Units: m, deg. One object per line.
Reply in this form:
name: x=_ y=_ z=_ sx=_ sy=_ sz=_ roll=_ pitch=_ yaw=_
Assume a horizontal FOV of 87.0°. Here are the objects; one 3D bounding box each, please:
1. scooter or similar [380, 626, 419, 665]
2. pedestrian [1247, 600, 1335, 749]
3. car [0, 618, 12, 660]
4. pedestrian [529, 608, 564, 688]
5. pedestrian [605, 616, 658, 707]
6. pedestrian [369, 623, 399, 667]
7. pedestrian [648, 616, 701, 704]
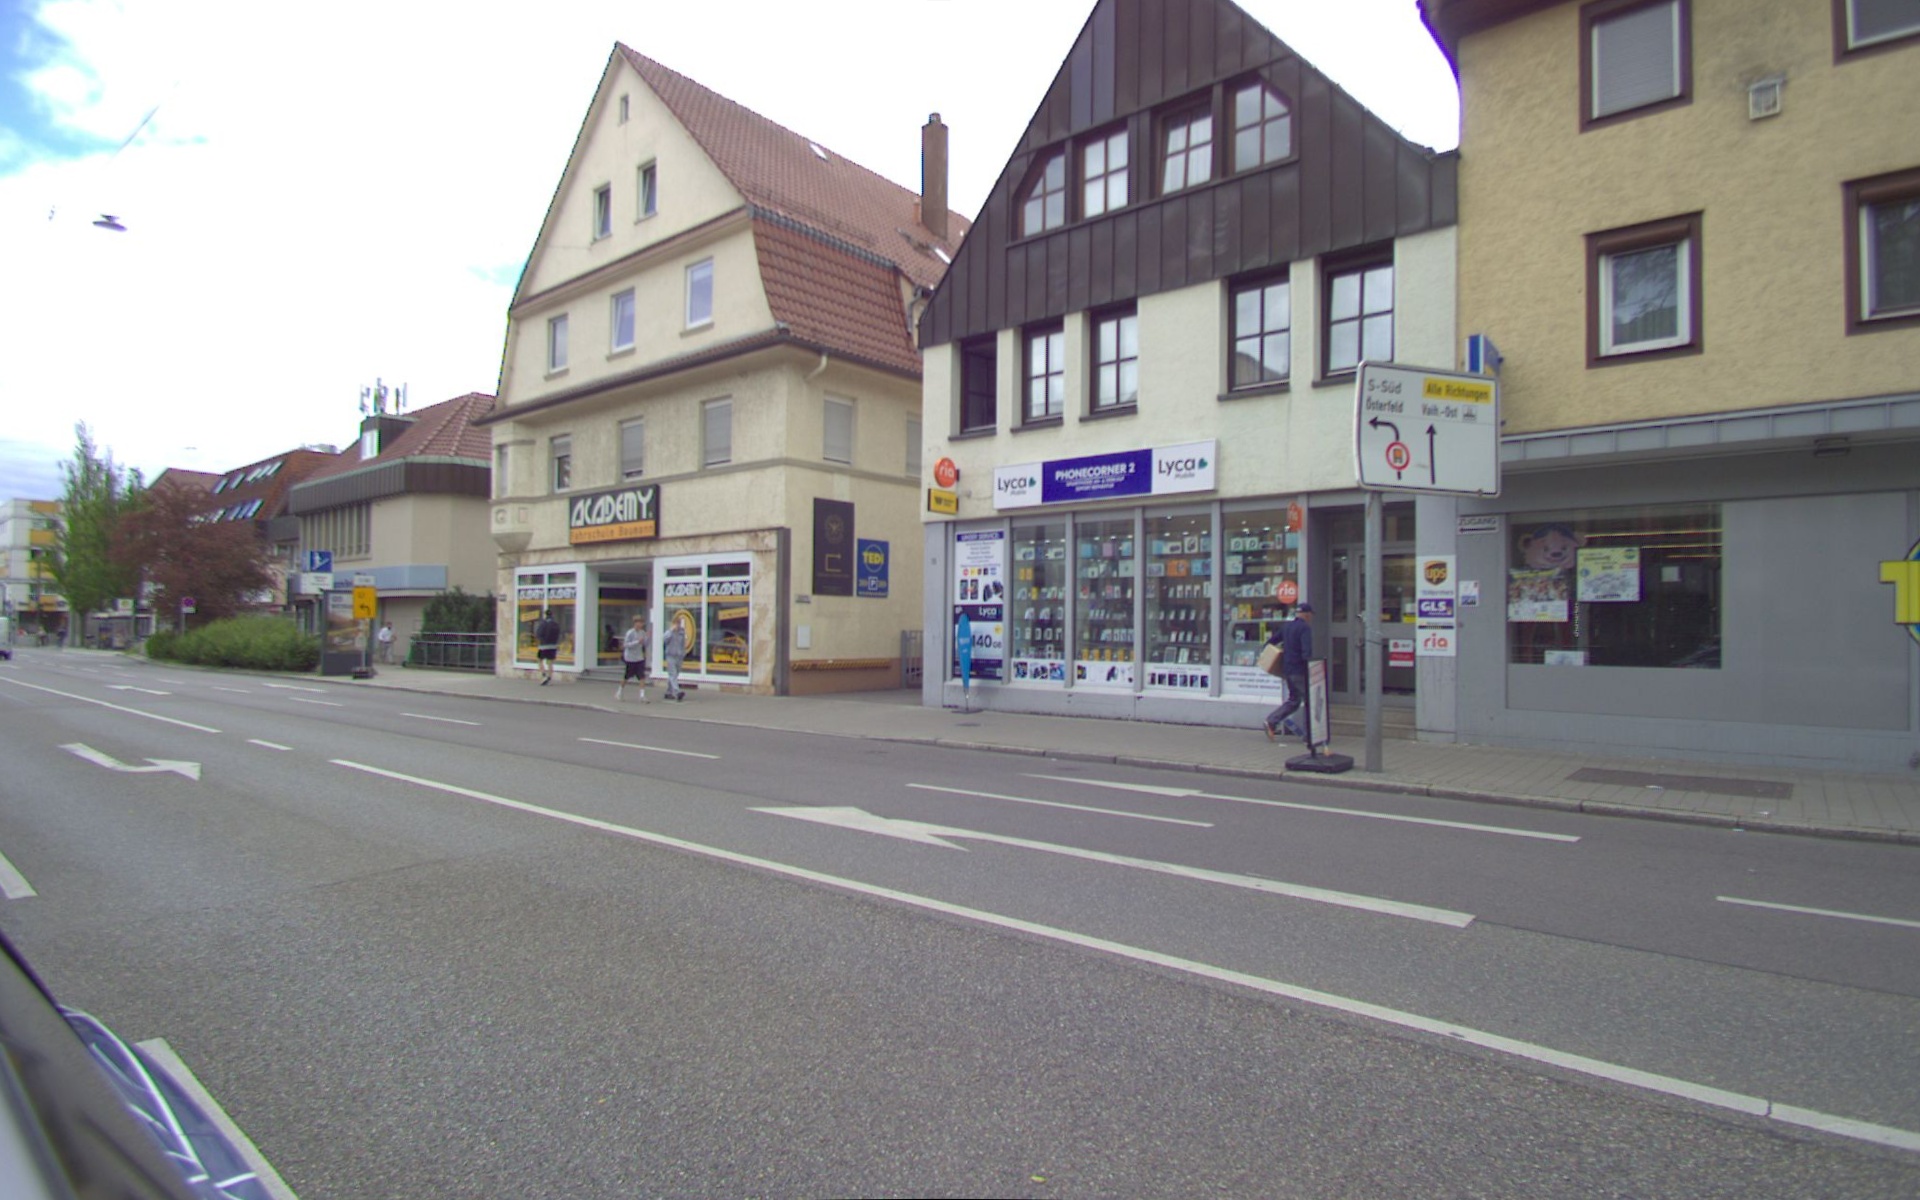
scooter or similar: x=-20.800 y=1.688 z=37.559 sx=0.536 sy=1.404 sz=1.182 roll=-1 pitch=-2 yaw=26
pedestrian: x=4.014 y=0.877 z=12.272 sx=0.775 sy=1.726 sz=0.679 roll=-2 pitch=-1 yaw=41
car: x=-45.460 y=1.793 z=46.732 sx=4.318 sy=1.924 sz=1.932 roll=-2 pitch=-2 yaw=40
pedestrian: x=-10.022 y=1.161 z=24.518 sx=0.592 sy=1.903 sz=0.544 roll=-2 pitch=-1 yaw=37
pedestrian: x=-6.318 y=1.160 z=19.464 sx=0.742 sy=1.703 sz=0.680 roll=-2 pitch=-1 yaw=41
pedestrian: x=-23.644 y=1.833 z=41.543 sx=0.837 sy=1.772 sz=0.825 roll=-2 pitch=-3 yaw=41
pedestrian: x=-5.655 y=1.170 z=20.023 sx=0.709 sy=1.683 sz=0.681 roll=-2 pitch=0 yaw=41
